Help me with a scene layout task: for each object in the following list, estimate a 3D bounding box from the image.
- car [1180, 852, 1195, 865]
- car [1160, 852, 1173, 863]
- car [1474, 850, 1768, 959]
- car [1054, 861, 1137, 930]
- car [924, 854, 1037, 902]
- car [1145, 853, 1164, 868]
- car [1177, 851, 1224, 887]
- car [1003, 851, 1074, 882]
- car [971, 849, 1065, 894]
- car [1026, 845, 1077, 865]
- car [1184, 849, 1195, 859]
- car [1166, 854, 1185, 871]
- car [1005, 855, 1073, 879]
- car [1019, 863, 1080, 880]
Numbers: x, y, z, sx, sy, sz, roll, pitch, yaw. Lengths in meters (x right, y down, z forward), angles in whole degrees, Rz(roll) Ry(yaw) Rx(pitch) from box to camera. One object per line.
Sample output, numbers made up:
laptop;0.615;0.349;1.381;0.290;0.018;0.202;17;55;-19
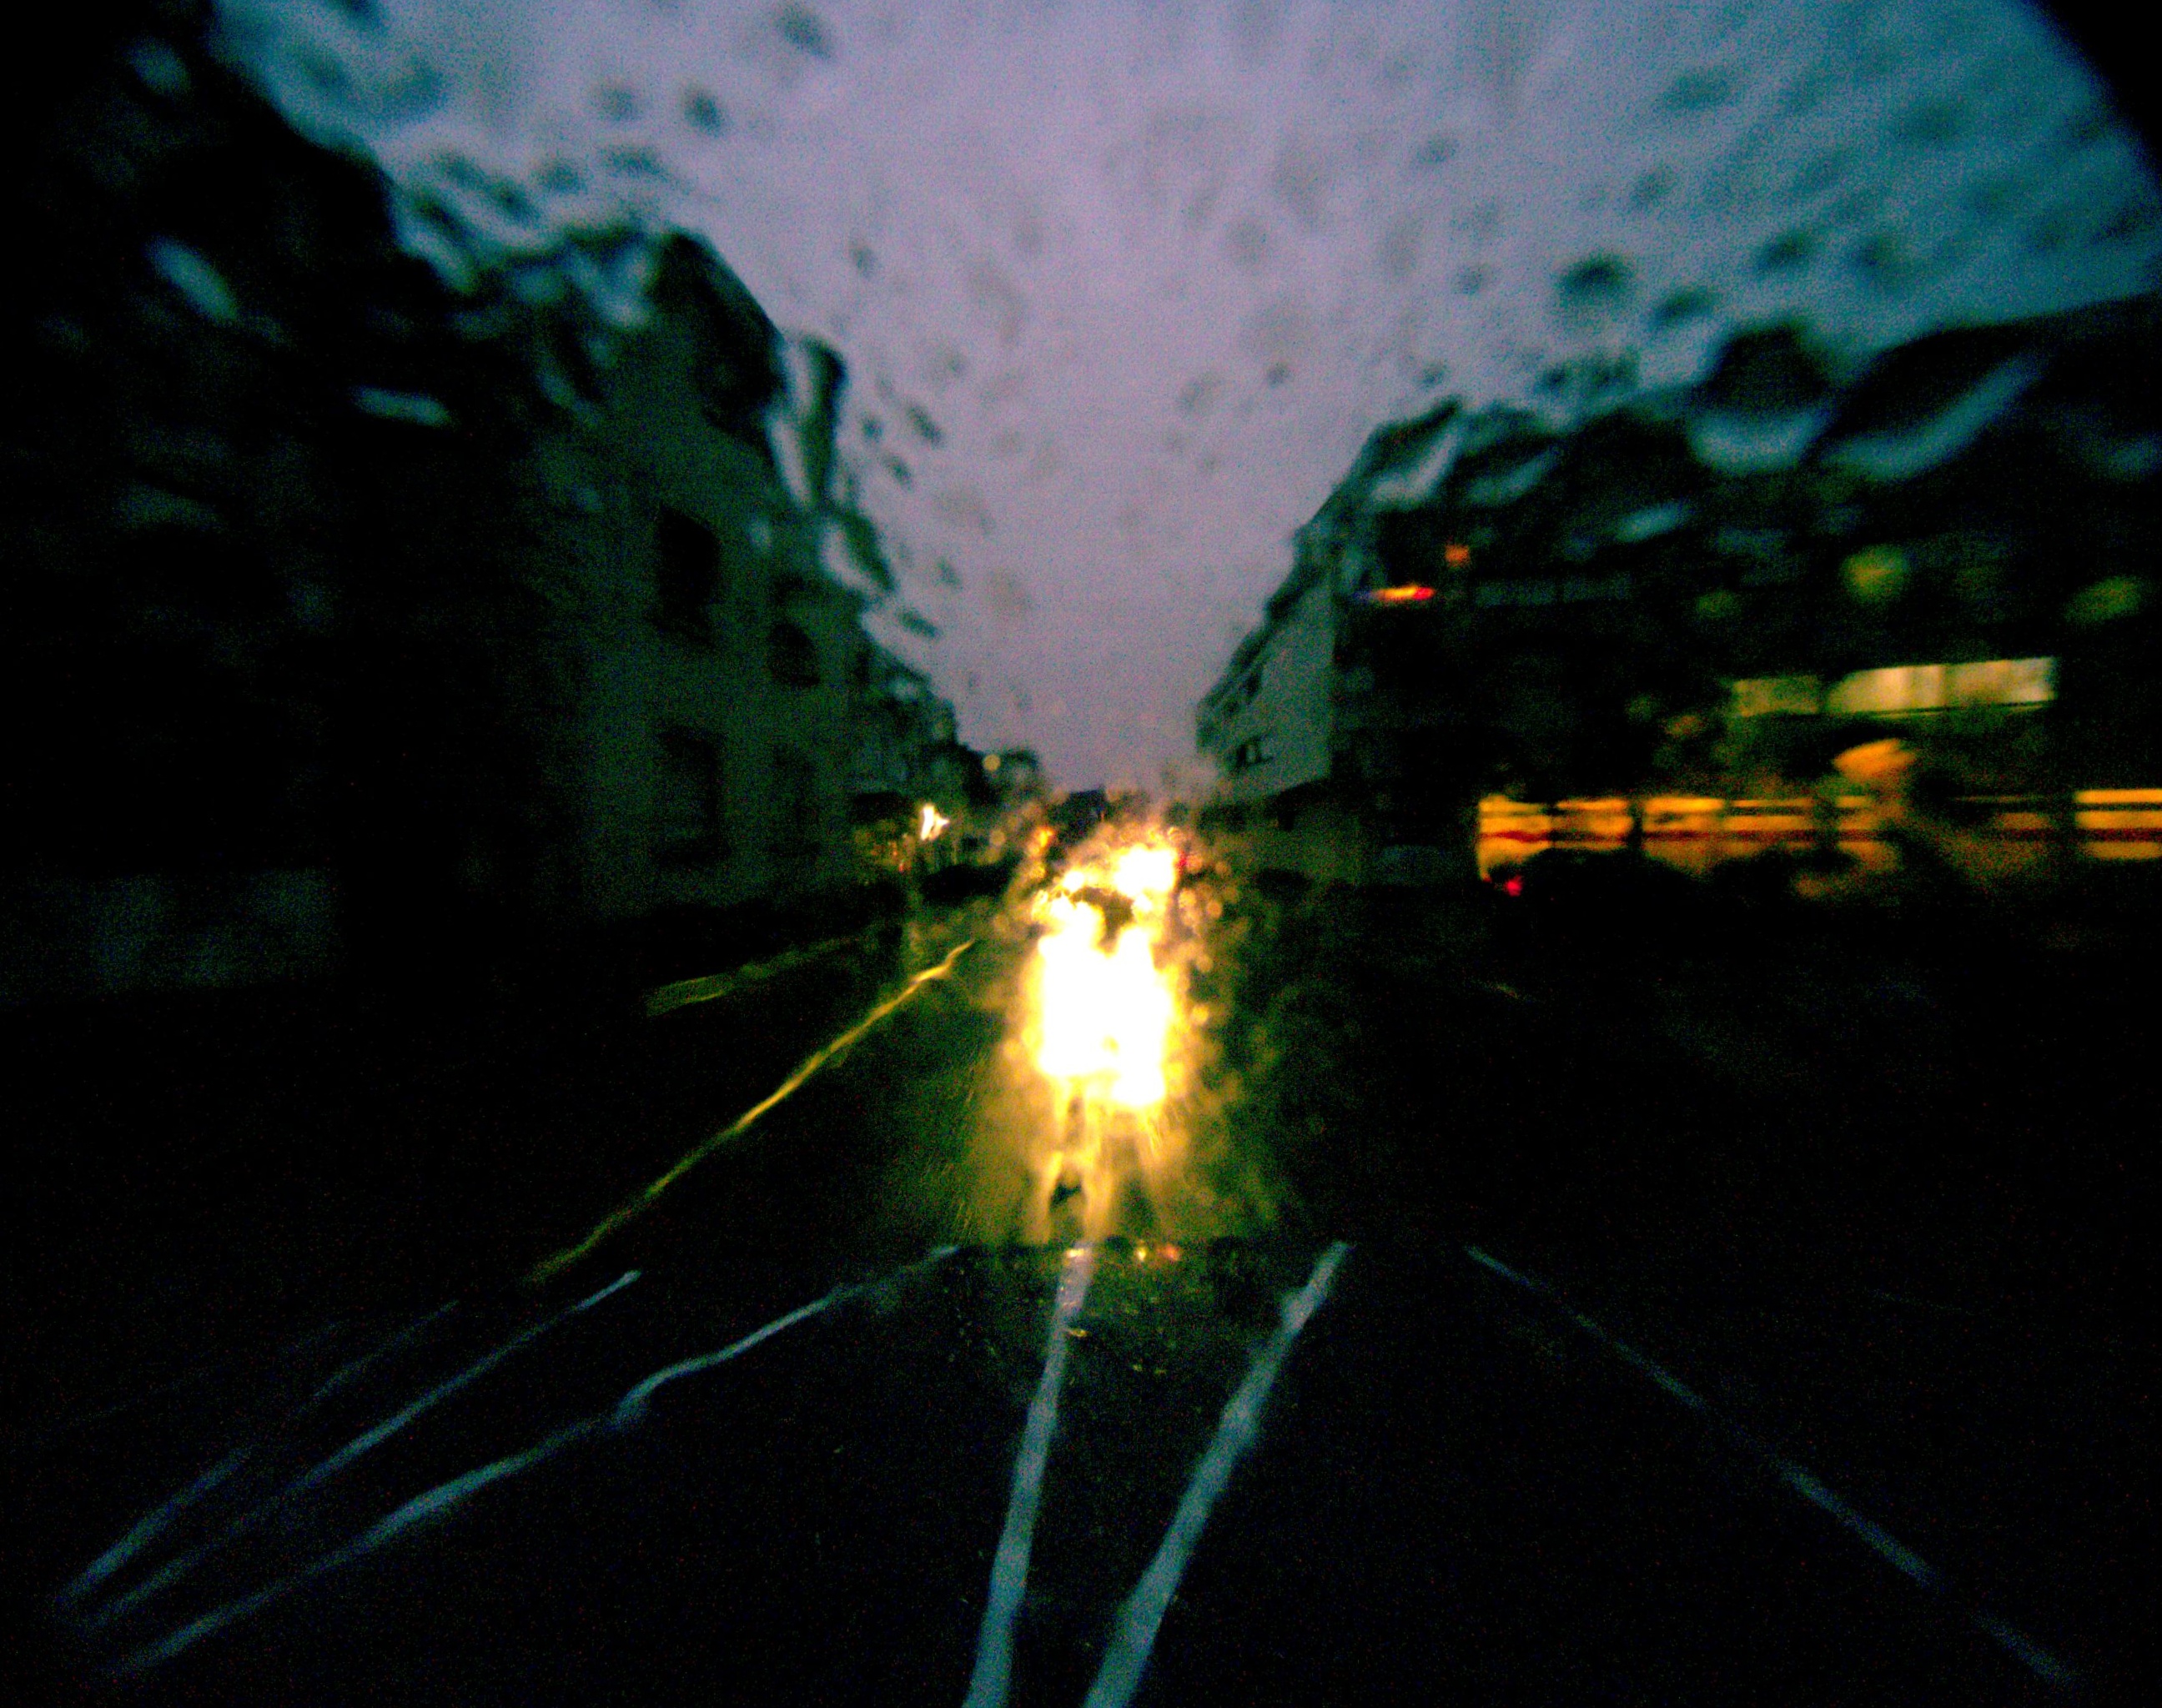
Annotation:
car;13.446;0.552;95.901;1.777;1.440;3.829;-1;0;9
car;13.878;0.502;123.155;1.835;1.703;3.703;-1;0;12
car;8.010;0.737;11.569;3.305;1.498;1.503;-1;0;14
car;0.455;0.946;18.774;1.730;1.475;3.605;-2;0;6
car;-3.551;0.852;27.264;3.852;1.618;1.611;1;0;-2
car;8.620;0.742;89.332;1.922;1.608;3.871;-1;0;10
car;5.841;0.701;37.606;1.899;1.607;3.827;-1;0;3
car;-2.358;0.707;42.833;3.887;1.722;1.714;0;0;2
car;-2.674;0.723;32.722;3.889;1.866;1.868;0;0;-3
car;-2.291;0.068;59.106;3.888;1.487;1.551;0;0;0
car;21.334;-0.040;149.260;1.835;2.002;3.703;-1;0;13
car;9.800;0.880;78.455;1.892;1.670;4.002;-1;0;8
car;-2.422;0.744;44.745;3.887;1.359;1.551;0;0;2
car;-2.060;1.144;50.152;3.887;1.121;1.551;0;0;2
